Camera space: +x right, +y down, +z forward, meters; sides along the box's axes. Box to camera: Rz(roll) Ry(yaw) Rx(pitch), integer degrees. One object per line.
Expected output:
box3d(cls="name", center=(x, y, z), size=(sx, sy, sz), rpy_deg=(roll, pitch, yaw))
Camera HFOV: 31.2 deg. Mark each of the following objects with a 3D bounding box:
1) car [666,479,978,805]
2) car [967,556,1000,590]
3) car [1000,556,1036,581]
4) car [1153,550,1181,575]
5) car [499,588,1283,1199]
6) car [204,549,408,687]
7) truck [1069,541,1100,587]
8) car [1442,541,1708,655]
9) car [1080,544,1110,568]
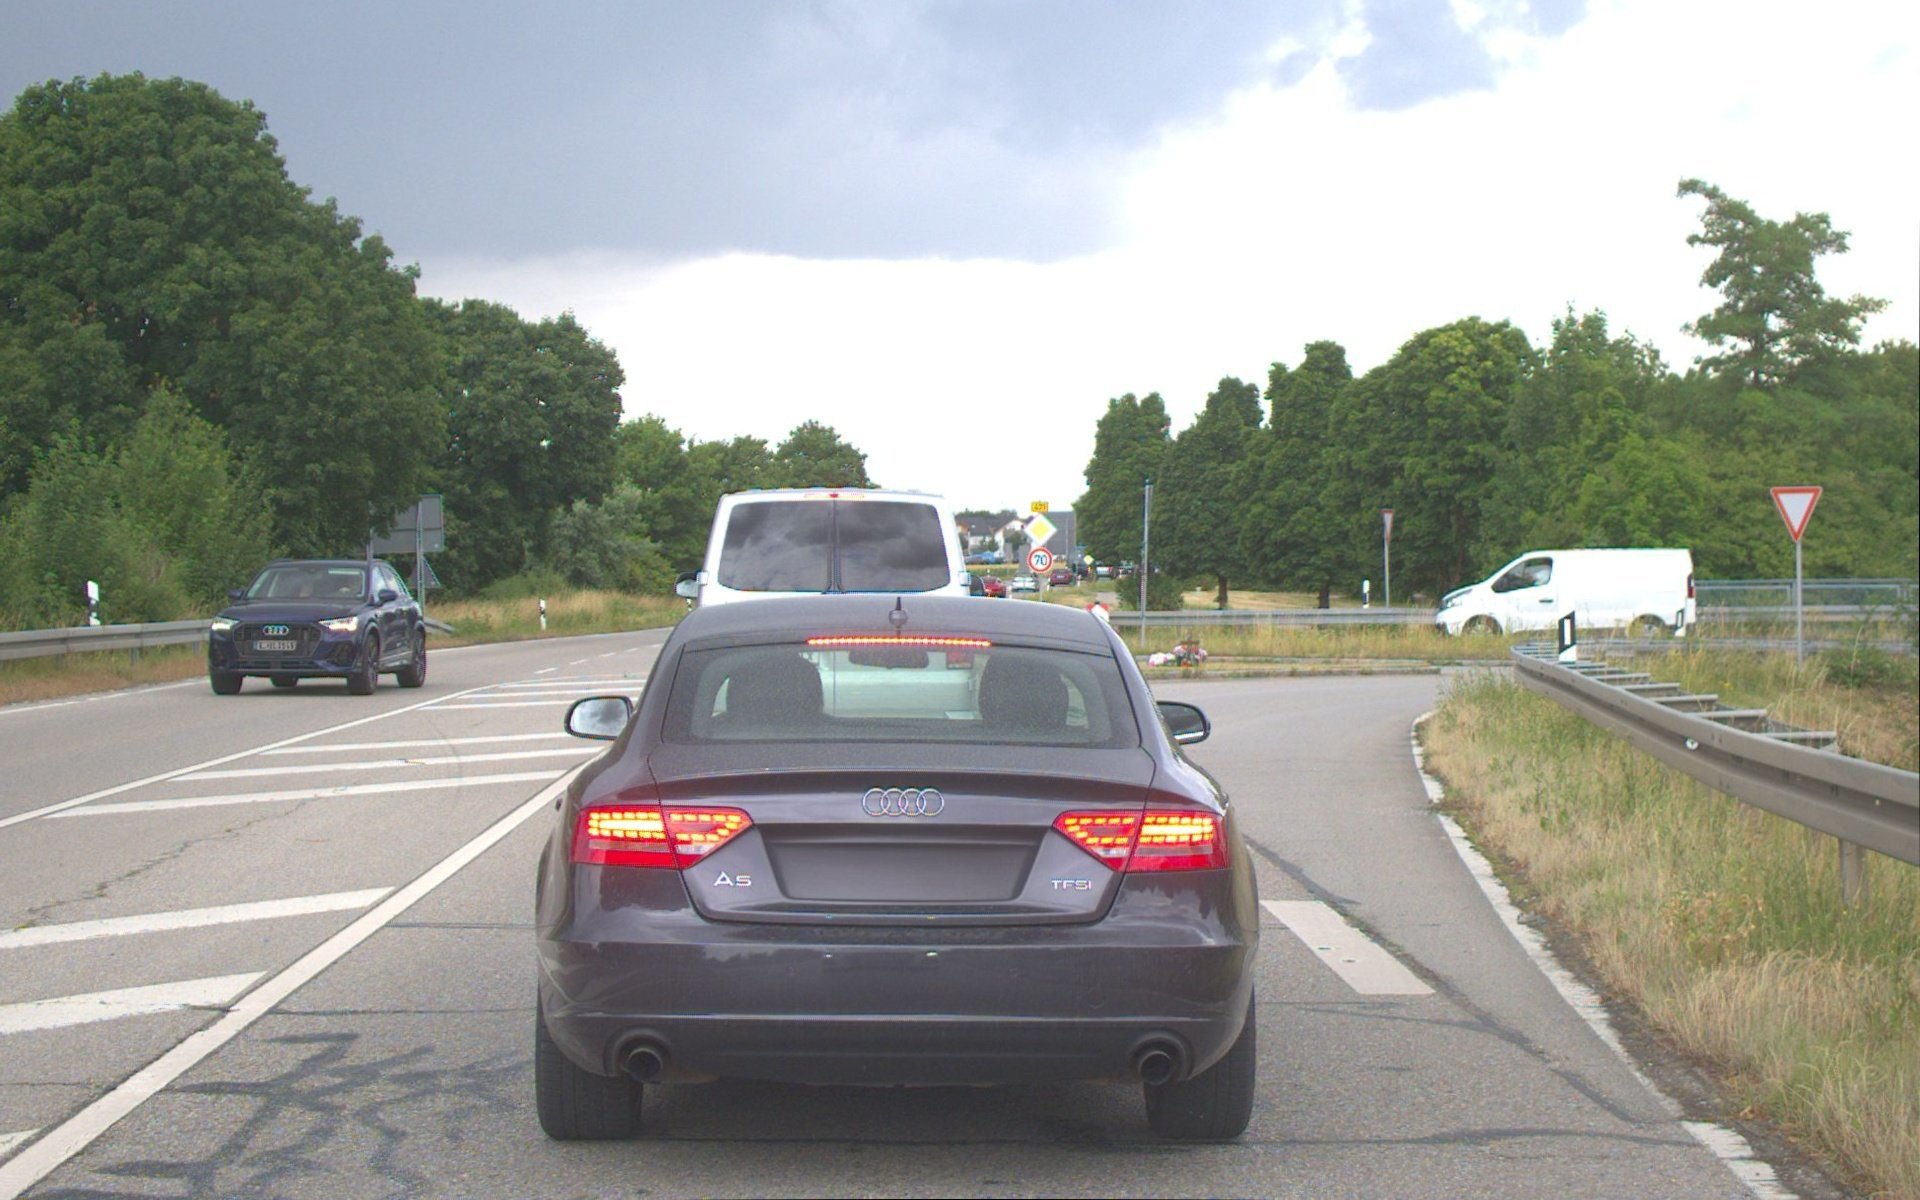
box3d(cls="car", center=(-0.923, 0.223, 23.365), size=(1.910, 2.007, 4.001), rpy_deg=(1, 1, -2))
box3d(cls="car", center=(1.479, -1.679, 213.650), size=(1.993, 2.007, 4.000), rpy_deg=(1, 1, 1))
box3d(cls="car", center=(3.923, -2.161, 234.136), size=(2.205, 1.577, 4.379), rpy_deg=(1, 1, -2))
box3d(cls="car", center=(14.341, -2.612, 238.343), size=(1.876, 1.686, 4.000), rpy_deg=(1, 1, 4))
box3d(cls="car", center=(-0.218, 0.682, 9.491), size=(1.779, 1.394, 3.337), rpy_deg=(0, 1, -2))
box3d(cls="car", center=(-7.716, 0.177, 40.892), size=(1.709, 1.513, 4.210), rpy_deg=(1, 1, -1))
box3d(cls="truck", center=(8.216, -2.399, 227.089), size=(1.993, 2.908, 5.793), rpy_deg=(1, 1, 1))
box3d(cls="car", center=(11.756, -0.071, 65.594), size=(4.863, 2.057, 2.086), rpy_deg=(1, 1, 13))
box3d(cls="car", center=(9.611, -3.153, 245.320), size=(1.993, 1.686, 4.000), rpy_deg=(1, 1, 1))
